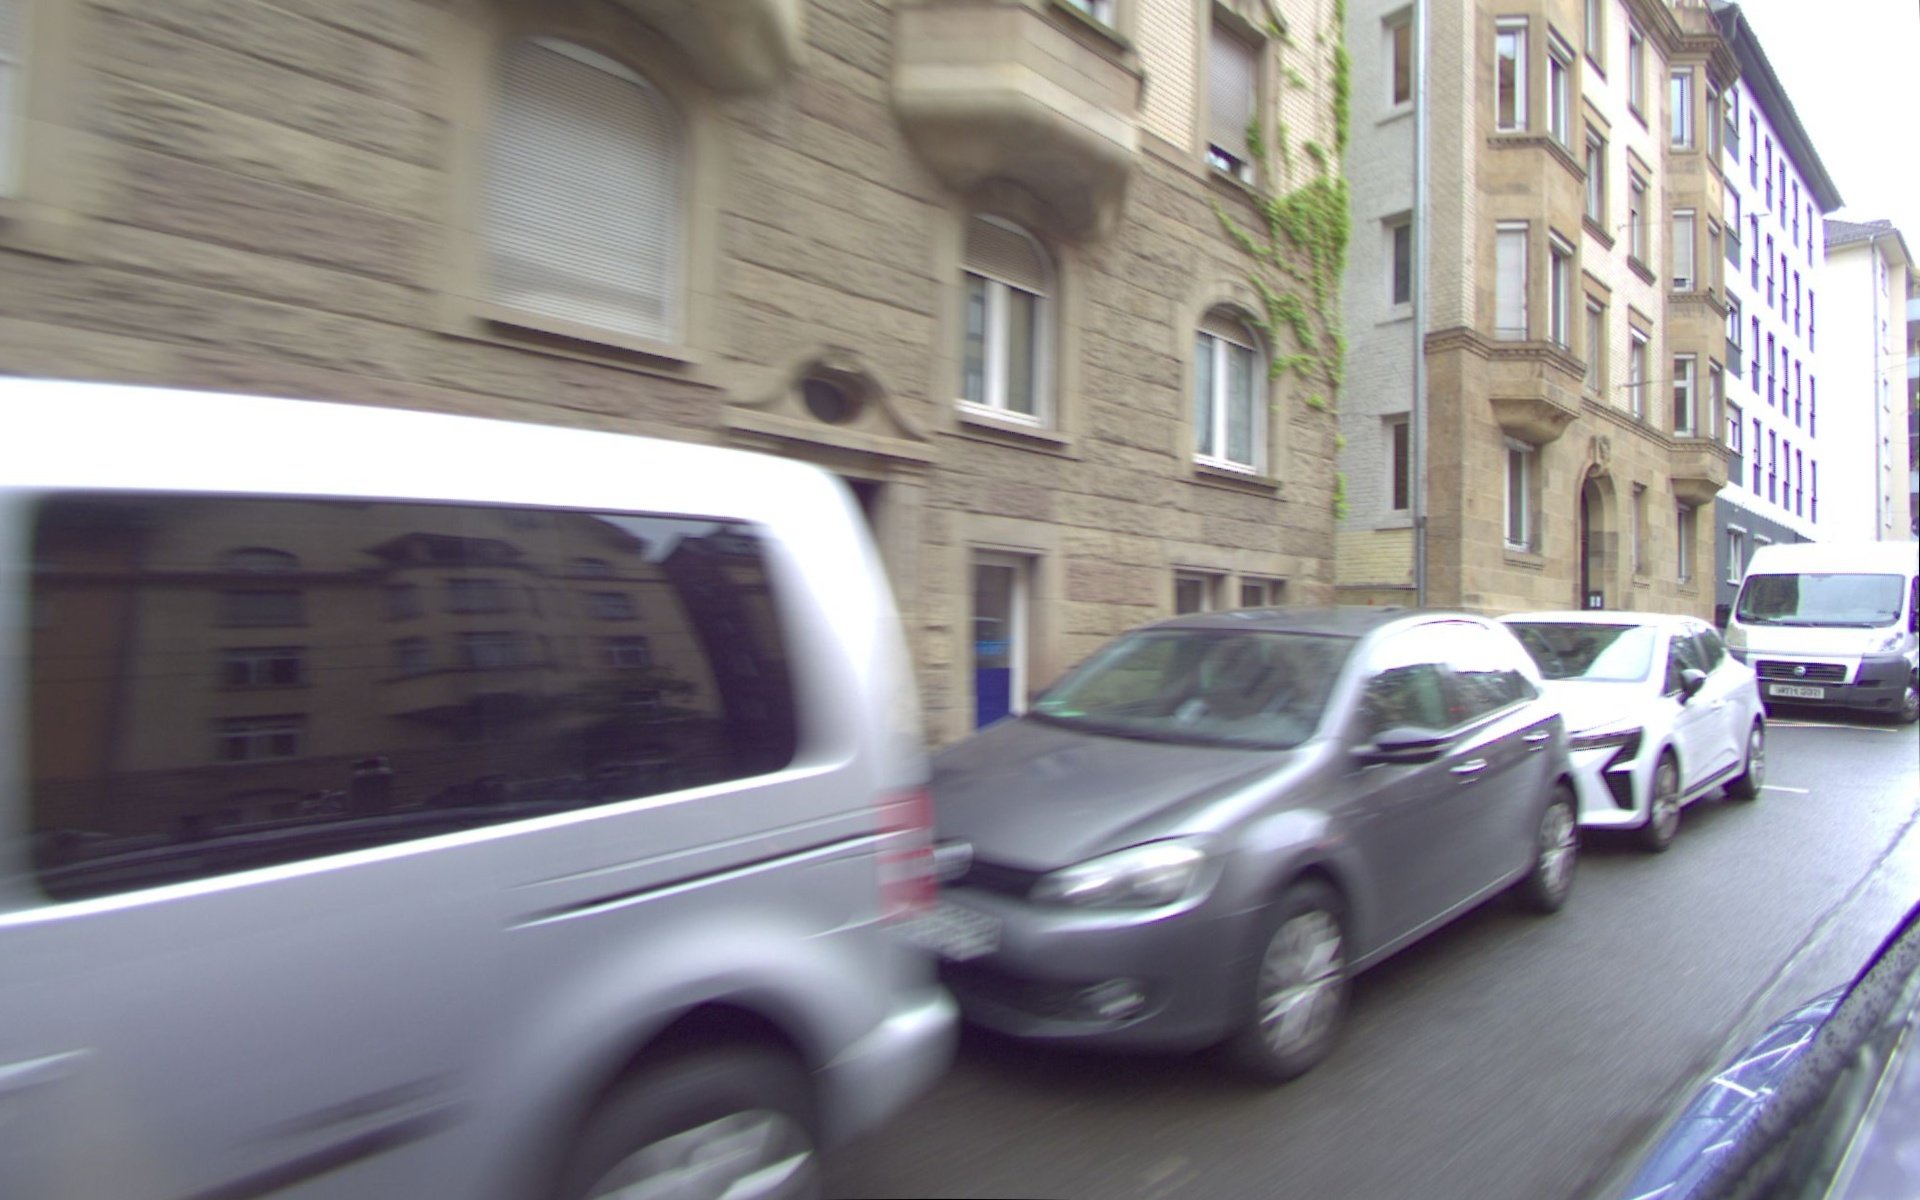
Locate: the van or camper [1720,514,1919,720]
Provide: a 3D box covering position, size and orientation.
[{"bbox_3d":[13.259,0.192,14.933,6.011,2.500,2.068,0,0,-41],"label":"van or camper"}]

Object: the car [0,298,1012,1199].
[{"bbox_3d":[-2.082,0.538,1.492,4.284,1.799,1.777,1,0,-41],"label":"car"}]

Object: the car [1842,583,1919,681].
[{"bbox_3d":[19.451,0.610,20.523,4.404,1.831,1.771,0,-1,-41],"label":"car"}]

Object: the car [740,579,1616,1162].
[{"bbox_3d":[1.241,0.665,4.607,3.931,1.459,1.996,0,0,-42],"label":"car"}]

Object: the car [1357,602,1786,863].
[{"bbox_3d":[4.717,0.740,7.566,3.931,1.429,1.678,0,0,-42],"label":"car"}]
